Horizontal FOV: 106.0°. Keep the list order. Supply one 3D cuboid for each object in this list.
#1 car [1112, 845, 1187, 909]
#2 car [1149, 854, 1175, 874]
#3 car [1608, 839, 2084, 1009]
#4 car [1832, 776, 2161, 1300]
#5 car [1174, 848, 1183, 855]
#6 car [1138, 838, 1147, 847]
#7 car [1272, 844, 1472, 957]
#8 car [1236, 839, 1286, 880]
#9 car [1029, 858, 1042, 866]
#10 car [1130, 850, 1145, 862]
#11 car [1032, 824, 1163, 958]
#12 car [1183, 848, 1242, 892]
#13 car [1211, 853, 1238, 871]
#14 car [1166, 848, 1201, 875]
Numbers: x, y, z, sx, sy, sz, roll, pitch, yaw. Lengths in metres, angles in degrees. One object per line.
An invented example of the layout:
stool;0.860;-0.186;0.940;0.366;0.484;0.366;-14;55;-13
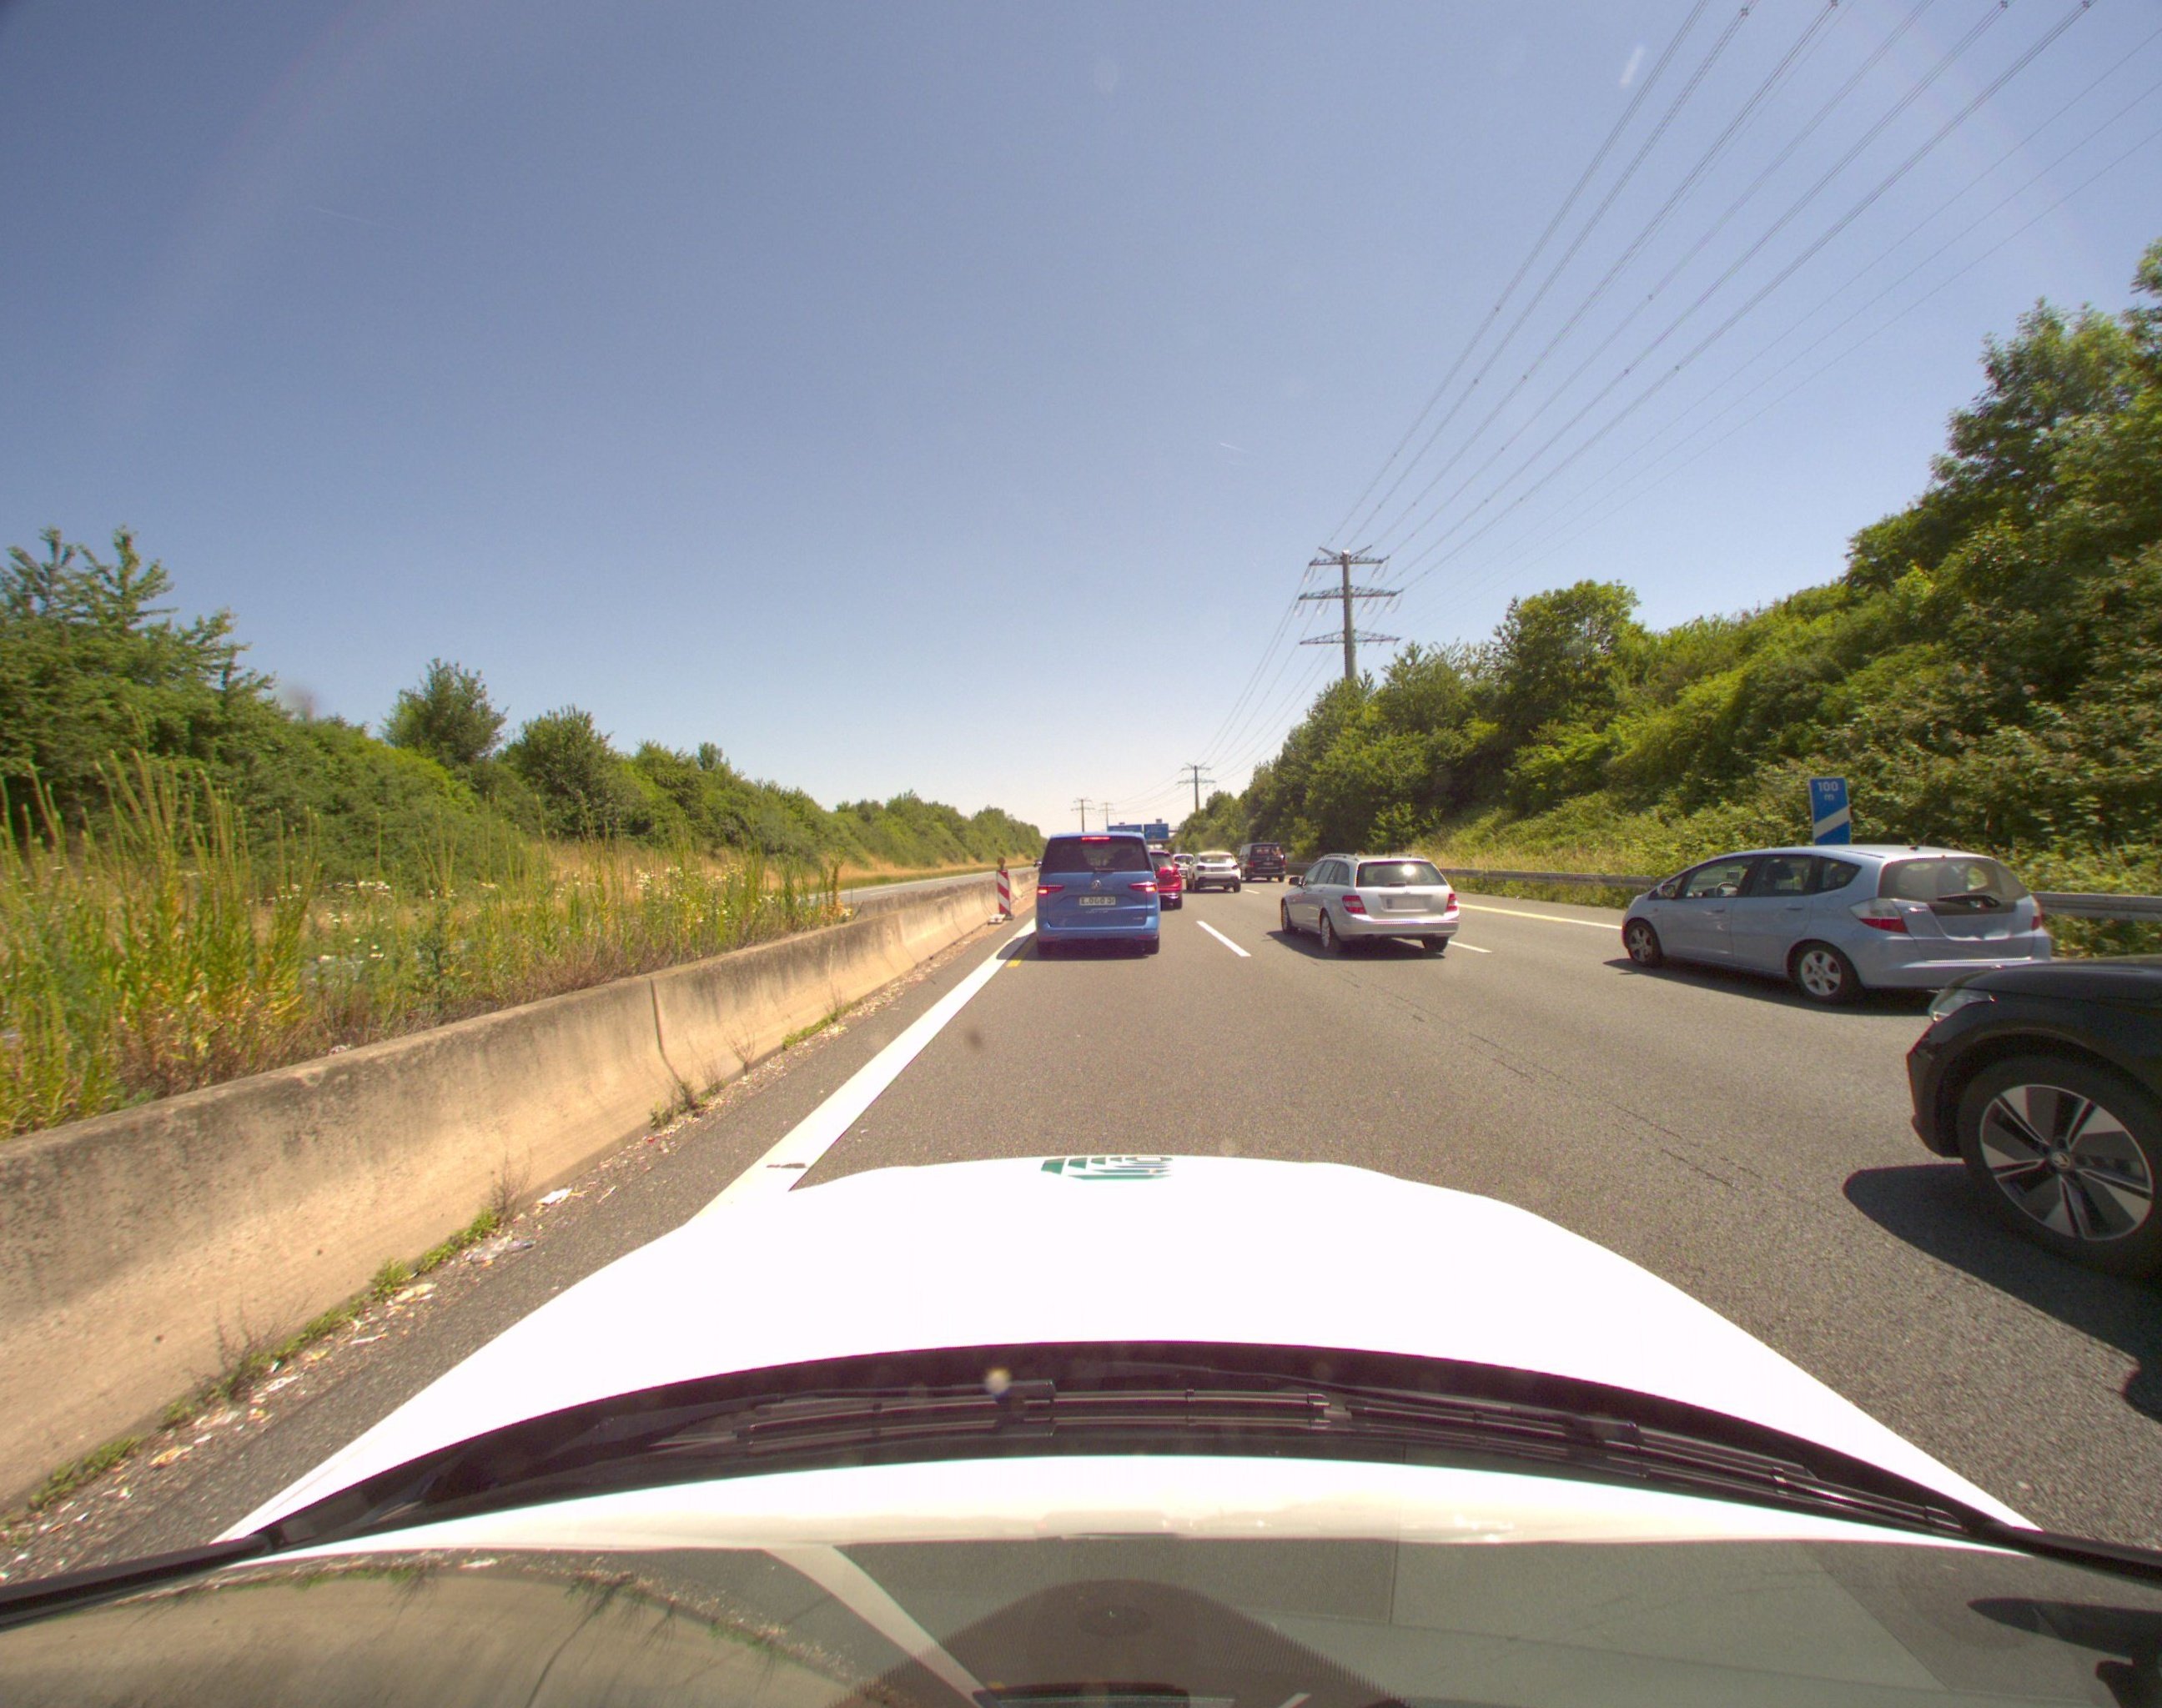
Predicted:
car;1.872;0.609;23.467;1.868;1.671;4.360;0;0;1
car;6.415;0.774;64.911;1.791;1.594;4.228;0;0;2
car;7.745;0.606;8.843;1.694;1.448;3.789;0;0;2
car;4.243;0.572;1.495;1.695;1.655;4.430;0;0;1
car;24.999;-0.687;209.120;1.868;1.671;4.360;0;0;1
car;16.612;-3.071;219.794;2.368;2.428;4.228;0;0;2
car;4.458;0.645;13.230;1.764;1.517;4.360;0;0;1
car;9.144;0.274;41.634;1.790;2.014;4.230;0;0;3
car;-9.393;1.642;168.214;1.986;1.650;4.632;-4;0;2
car;7.716;0.323;111.237;1.791;1.594;4.228;0;0;2
car;0.282;0.543;13.858;1.868;1.912;4.360;0;0;1
car;5.108;0.608;32.157;1.791;1.594;4.228;0;0;2
car;13.120;0.722;74.614;1.791;1.594;4.228;0;0;2
car;6.247;0.471;50.077;1.791;1.594;4.228;0;0;2
